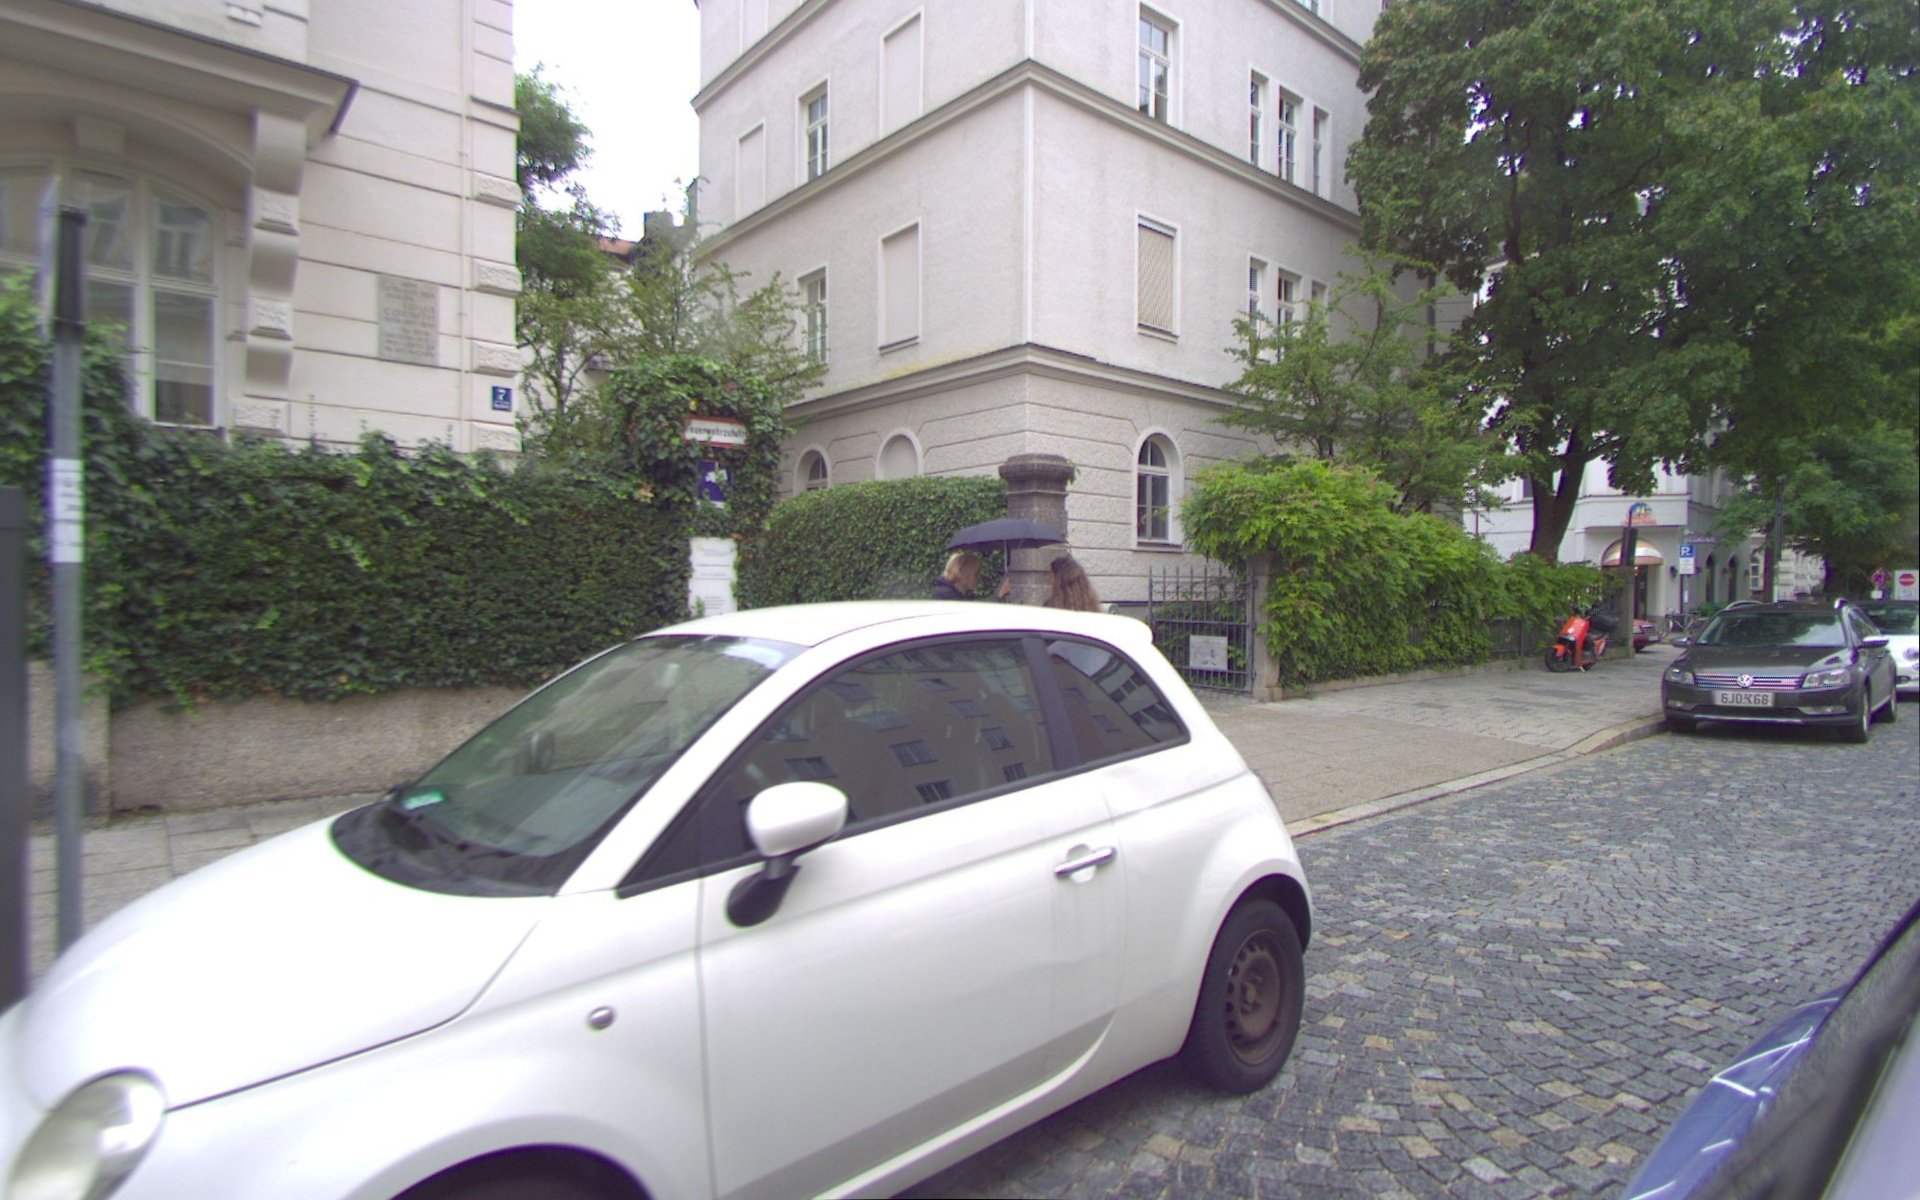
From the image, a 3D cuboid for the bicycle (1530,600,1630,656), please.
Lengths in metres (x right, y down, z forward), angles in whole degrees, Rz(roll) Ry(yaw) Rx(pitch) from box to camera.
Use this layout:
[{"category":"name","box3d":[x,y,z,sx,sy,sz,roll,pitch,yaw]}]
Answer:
[{"category":"bicycle","box3d":[13.895,0.600,22.725,0.551,1.138,1.846,0,1,-30]}]

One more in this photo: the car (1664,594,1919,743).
[{"category":"car","box3d":[10.066,0.700,12.110,4.553,1.440,1.649,-1,-3,-42]}]

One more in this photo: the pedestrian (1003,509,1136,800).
[{"category":"pedestrian","box3d":[0.744,0.344,6.931,0.668,1.873,0.578,0,1,-33]}]

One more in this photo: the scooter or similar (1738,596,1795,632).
[{"category":"scooter or similar","box3d":[28.394,0.486,35.660,0.396,1.187,1.611,0,1,-17]}]

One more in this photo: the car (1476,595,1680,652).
[{"category":"car","box3d":[16.839,0.582,27.791,1.726,1.375,4.485,0,1,-33]}]

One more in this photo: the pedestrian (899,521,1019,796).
[{"category":"pedestrian","box3d":[0.003,0.387,7.185,0.624,1.831,0.654,0,0,27]}]

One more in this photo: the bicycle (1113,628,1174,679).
[{"category":"bicycle","box3d":[2.668,0.764,14.693,1.019,0.686,0.261,0,1,-40]}]

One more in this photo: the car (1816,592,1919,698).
[{"category":"car","box3d":[14.904,0.631,15.967,3.728,1.489,1.505,-1,1,-40]}]

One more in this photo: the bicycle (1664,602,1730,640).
[{"category":"bicycle","box3d":[24.193,0.683,33.228,0.726,1.081,1.606,-4,5,-37]}]

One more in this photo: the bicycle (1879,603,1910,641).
[{"category":"bicycle","box3d":[29.843,0.698,32.307,1.559,1.161,0.389,0,1,-34]}]

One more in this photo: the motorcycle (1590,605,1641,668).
[{"category":"motorcycle","box3d":[11.984,0.653,18.492,1.378,1.104,0.363,0,0,-38]}]

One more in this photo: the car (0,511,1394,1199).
[{"category":"car","box3d":[-0.420,0.646,2.910,3.595,1.488,1.632,-1,-1,-41]}]
